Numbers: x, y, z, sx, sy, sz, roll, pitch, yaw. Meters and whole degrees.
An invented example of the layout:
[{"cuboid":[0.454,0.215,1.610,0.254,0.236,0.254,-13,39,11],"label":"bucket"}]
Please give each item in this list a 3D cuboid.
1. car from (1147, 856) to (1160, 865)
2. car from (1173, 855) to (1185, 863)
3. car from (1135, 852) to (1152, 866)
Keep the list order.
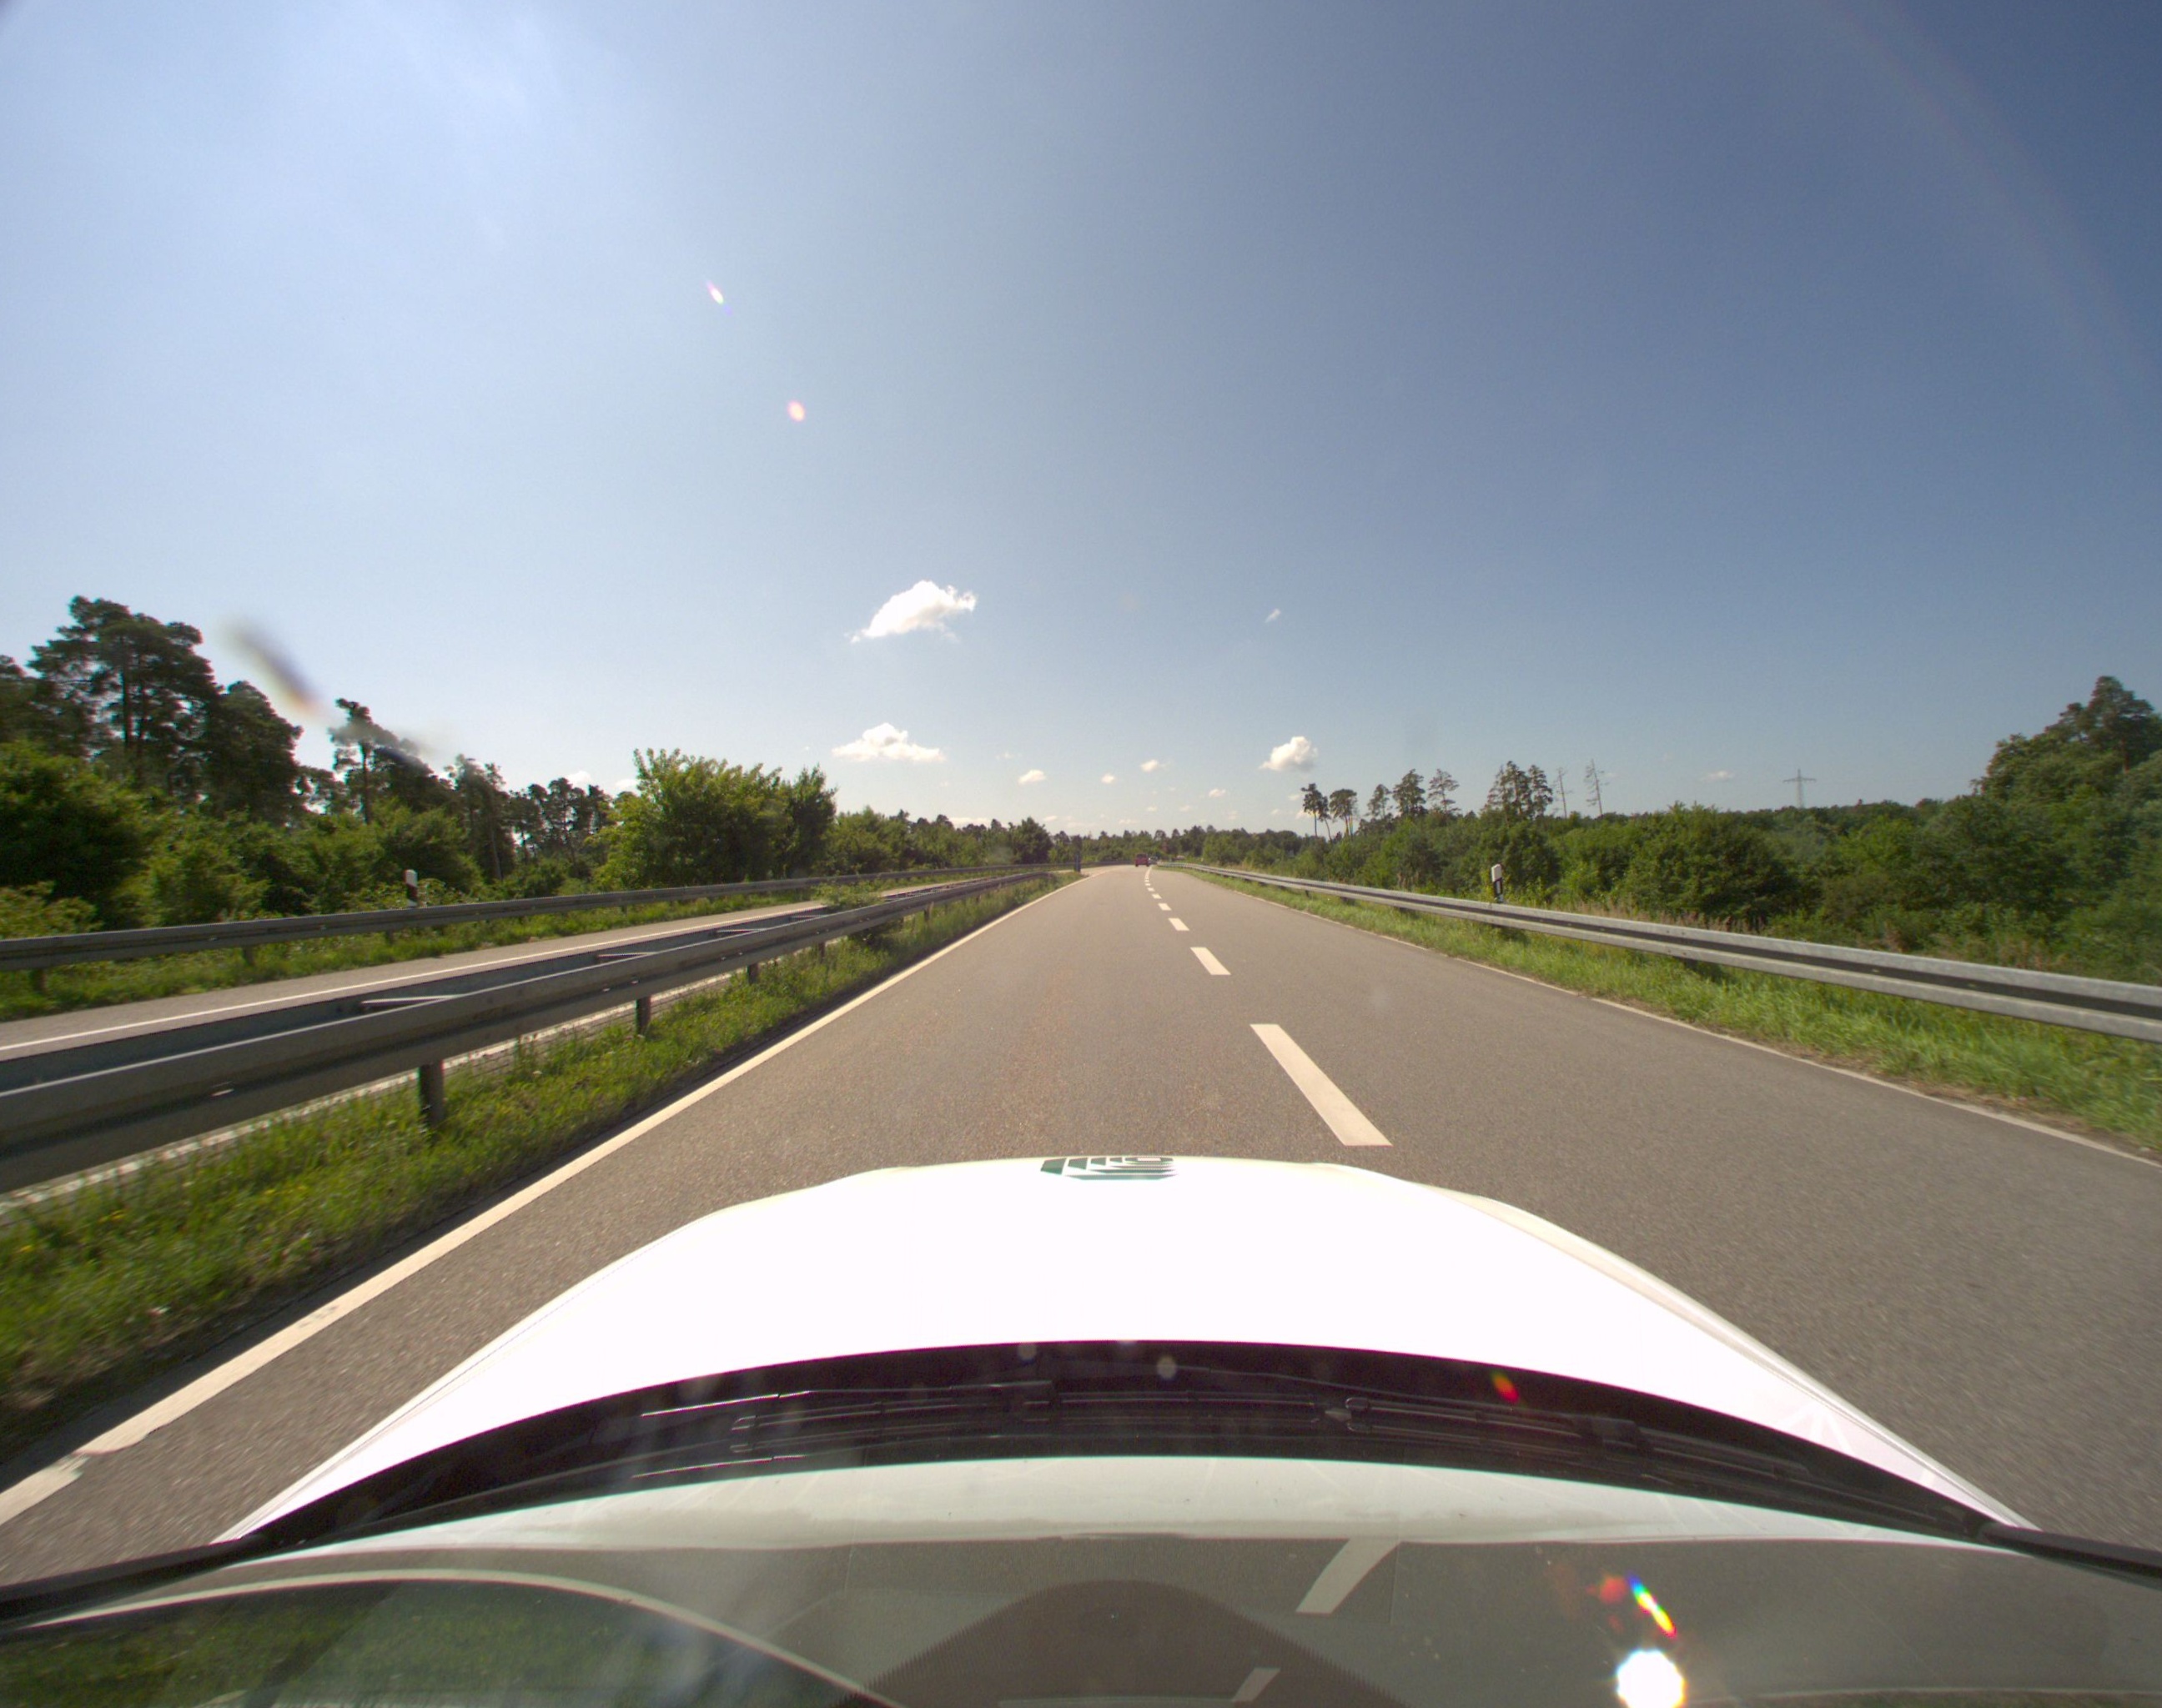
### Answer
[{"cuboid":[12.486,1.166,140.628,1.996,1.494,4.248,0,-1,8],"label":"car"},{"cuboid":[23.532,1.193,195.010,2.170,1.955,5.823,0,-1,12],"label":"car"},{"cuboid":[9.212,0.803,119.013,2.065,1.993,5.123,0,-1,9],"label":"car"}]
